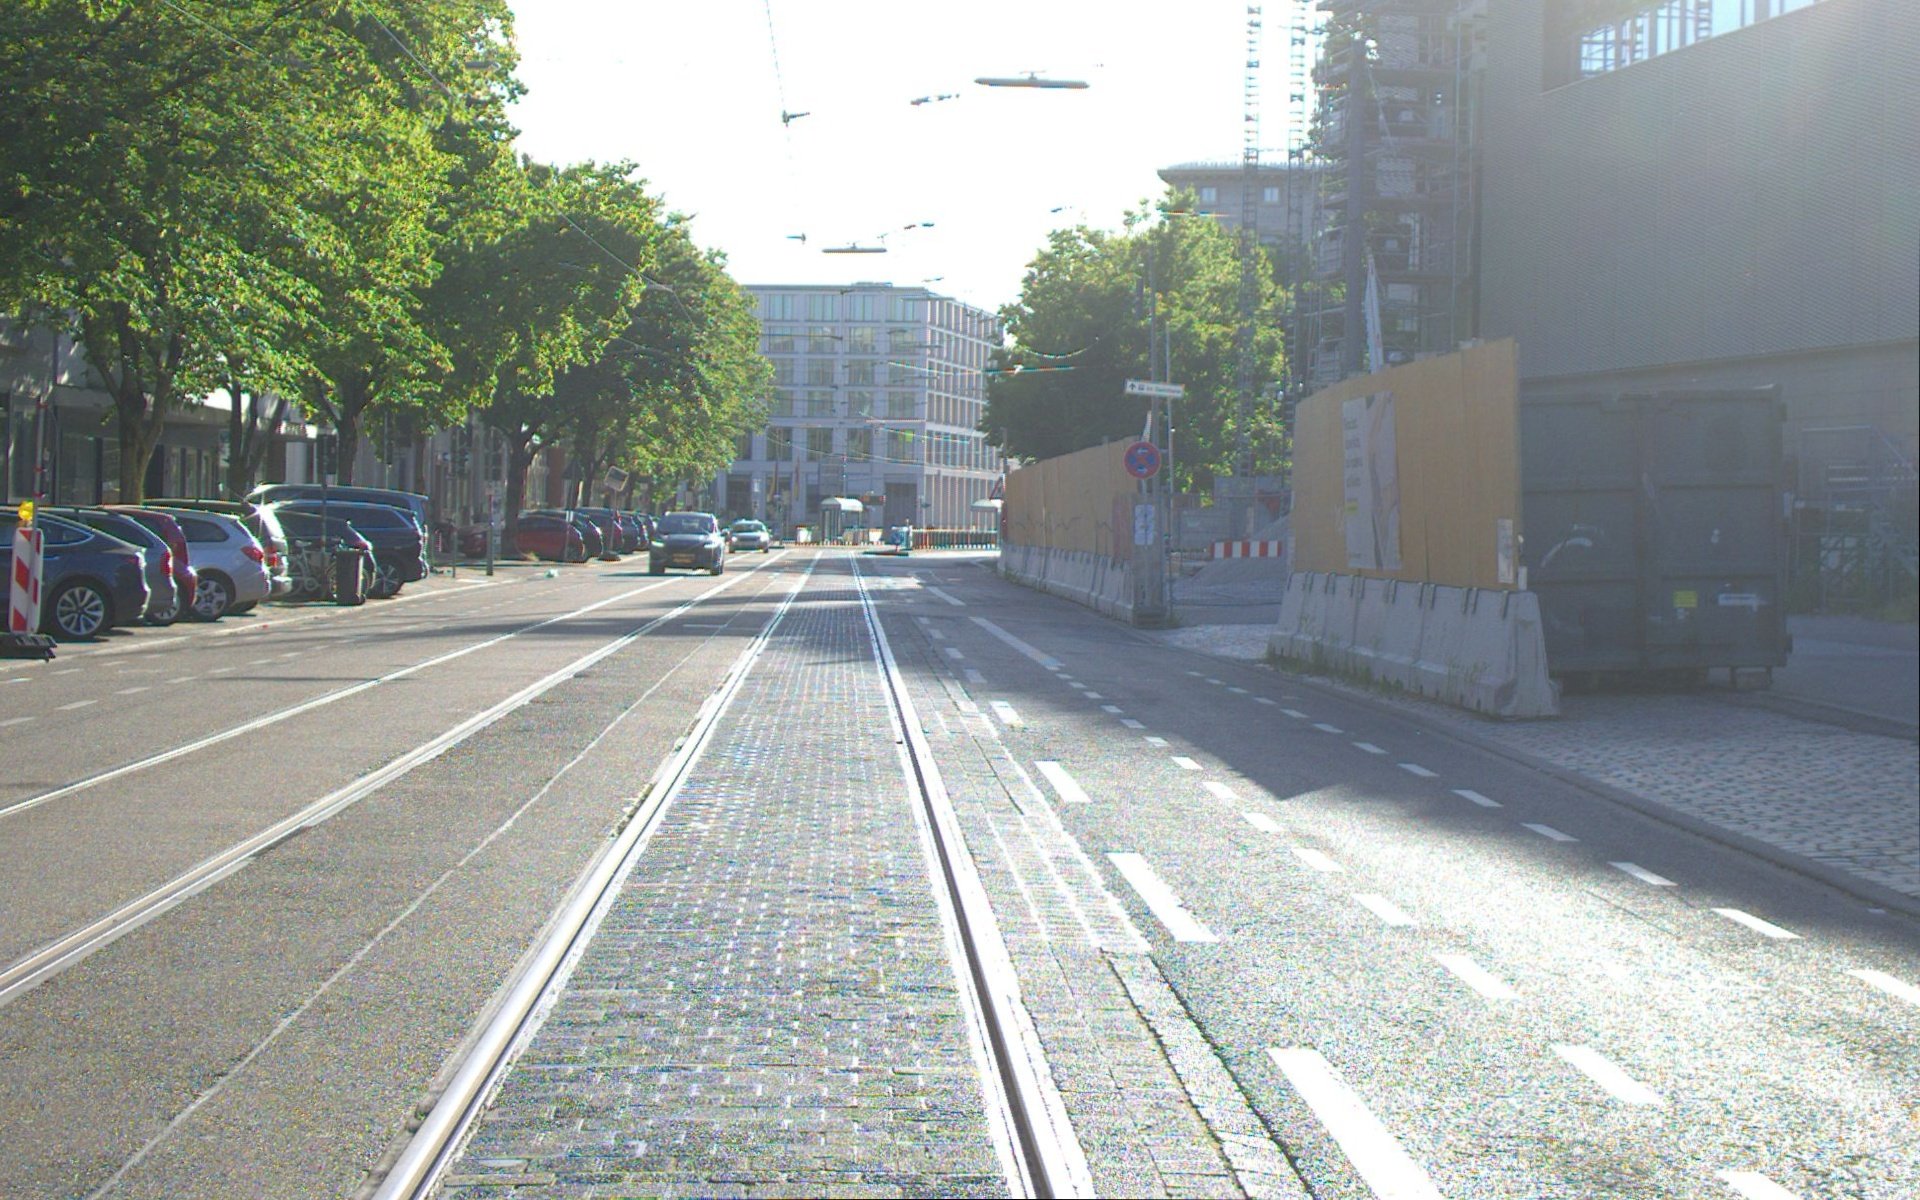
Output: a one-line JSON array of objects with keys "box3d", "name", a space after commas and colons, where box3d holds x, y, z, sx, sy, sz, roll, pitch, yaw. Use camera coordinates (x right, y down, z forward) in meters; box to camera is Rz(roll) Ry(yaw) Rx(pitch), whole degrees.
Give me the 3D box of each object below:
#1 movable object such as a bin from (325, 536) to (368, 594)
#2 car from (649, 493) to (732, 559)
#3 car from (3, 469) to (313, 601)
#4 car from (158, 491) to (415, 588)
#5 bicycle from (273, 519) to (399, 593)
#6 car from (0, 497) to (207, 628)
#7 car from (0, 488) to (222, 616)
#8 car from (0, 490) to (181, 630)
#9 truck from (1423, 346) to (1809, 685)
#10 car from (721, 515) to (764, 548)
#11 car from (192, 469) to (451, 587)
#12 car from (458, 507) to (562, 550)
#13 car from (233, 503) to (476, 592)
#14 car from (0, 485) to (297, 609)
[{"box3d": [-10.088, -0.577, 56.526, 0.575, 0.910, 0.575, 2, 2, -18], "name": "movable object such as a bin"}, {"box3d": [-7.116, -1.977, 91.143, 1.927, 1.623, 4.250, -1, 3, -1], "name": "car"}, {"box3d": [-11.724, -0.961, 50.456, 4.103, 1.672, 1.841, 3, 1, -4], "name": "car"}, {"box3d": [-12.011, -1.092, 61.295, 4.234, 1.679, 1.811, 0, 2, -22], "name": "car"}, {"box3d": [-10.380, -0.738, 57.227, 1.965, 1.140, 0.493, 2, 1, -20], "name": "bicycle"}, {"box3d": [-11.123, -0.482, 41.255, 3.672, 1.465, 1.753, 2, 1, -30], "name": "car"}, {"box3d": [-11.389, -0.635, 44.105, 3.362, 1.488, 1.613, 2, 2, -30], "name": "car"}, {"box3d": [-11.123, -0.503, 38.662, 4.188, 1.486, 1.944, 2, 2, -29], "name": "car"}, {"box3d": [6.133, -0.816, 32.937, 2.519, 2.899, 5.507, -2, 2, 0], "name": "truck"}, {"box3d": [-9.757, -3.091, 154.370, 1.709, 1.431, 4.171, 1, 2, -1], "name": "car"}, {"box3d": [-11.904, -1.346, 64.067, 4.353, 1.979, 1.950, 2, 1, -23], "name": "car"}, {"box3d": [-13.927, -2.212, 106.413, 2.933, 1.327, 1.216, -1, 2, -29], "name": "car"}, {"box3d": [-10.418, -0.904, 59.090, 3.855, 1.471, 1.844, 0, 2, -19], "name": "car"}, {"box3d": [-11.366, -0.736, 47.006, 4.103, 1.507, 1.841, 2, 2, -28], "name": "car"}]
